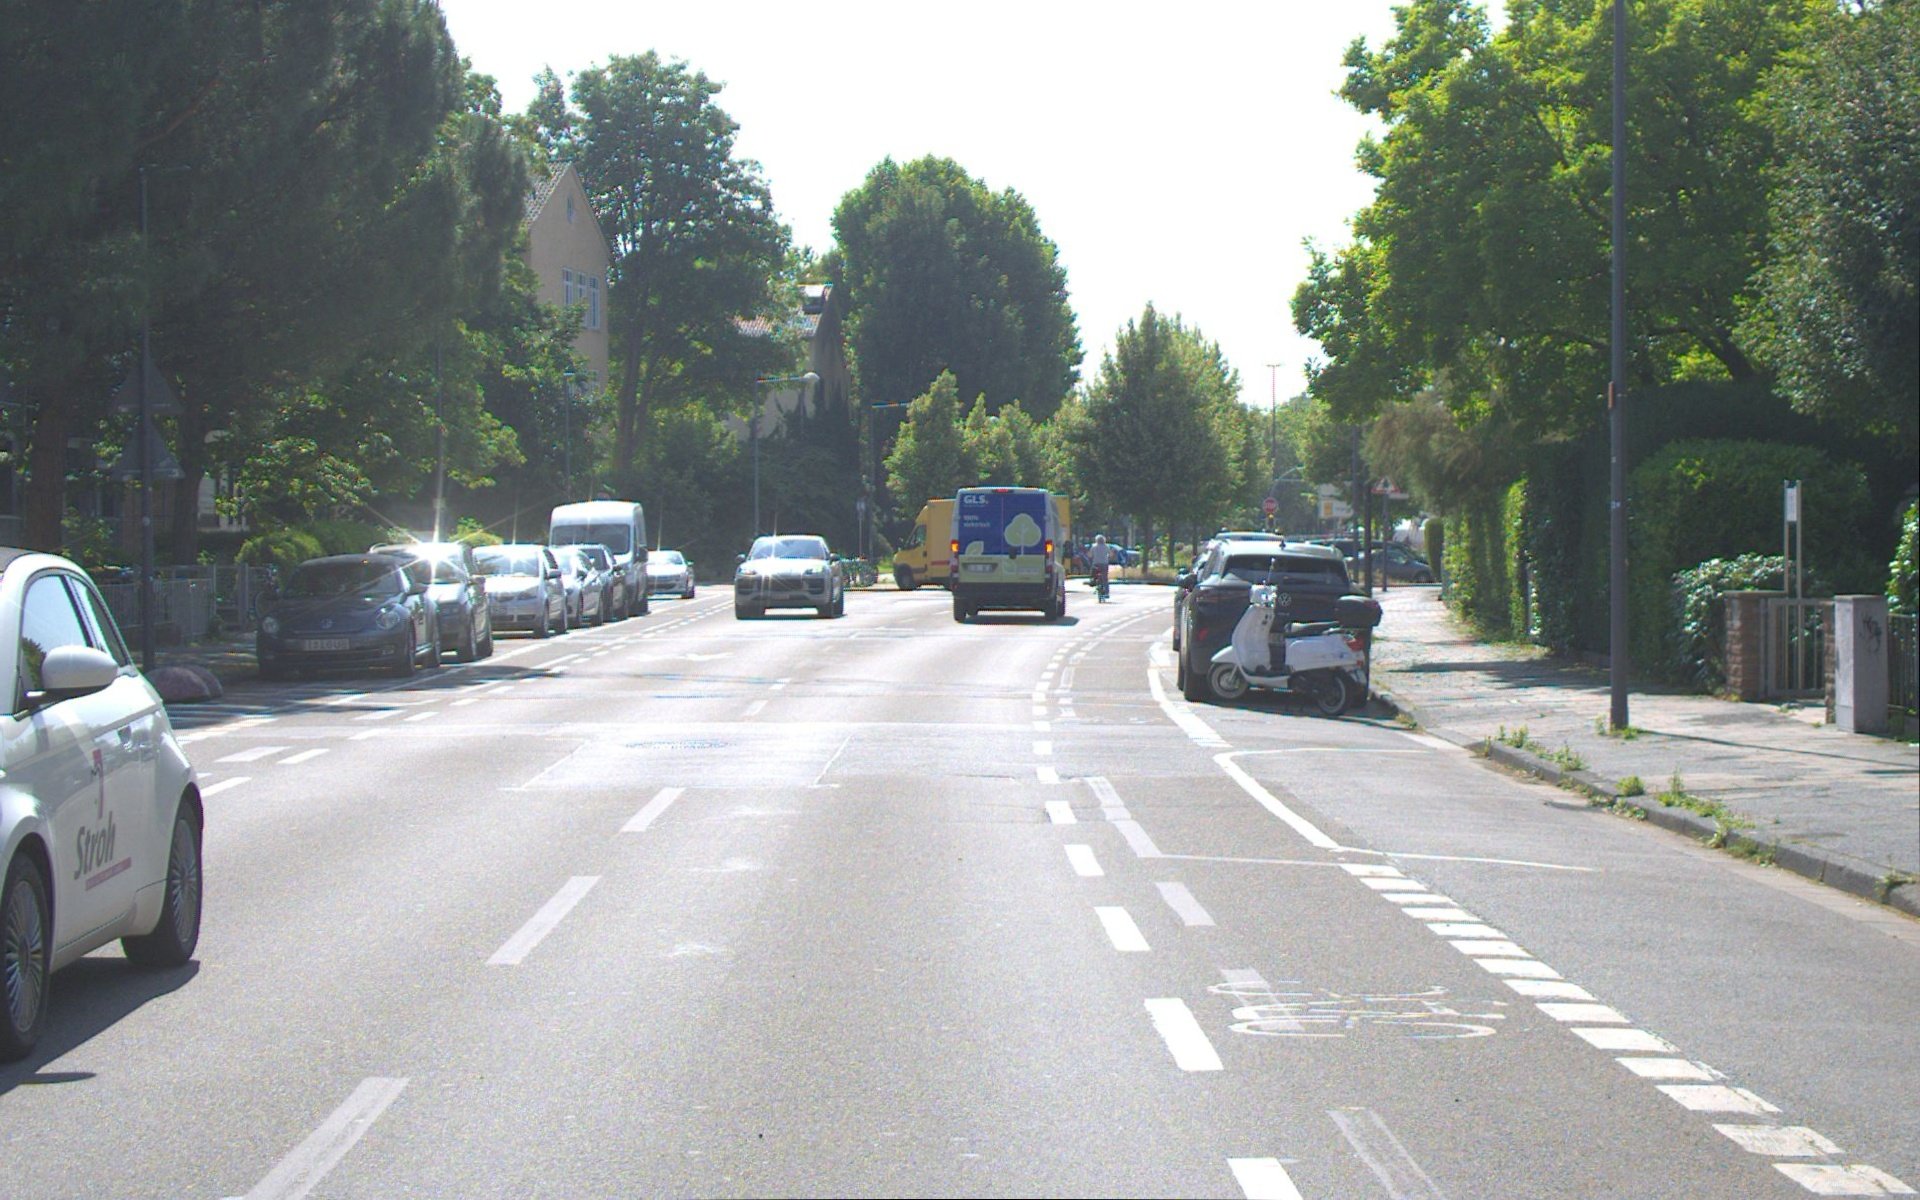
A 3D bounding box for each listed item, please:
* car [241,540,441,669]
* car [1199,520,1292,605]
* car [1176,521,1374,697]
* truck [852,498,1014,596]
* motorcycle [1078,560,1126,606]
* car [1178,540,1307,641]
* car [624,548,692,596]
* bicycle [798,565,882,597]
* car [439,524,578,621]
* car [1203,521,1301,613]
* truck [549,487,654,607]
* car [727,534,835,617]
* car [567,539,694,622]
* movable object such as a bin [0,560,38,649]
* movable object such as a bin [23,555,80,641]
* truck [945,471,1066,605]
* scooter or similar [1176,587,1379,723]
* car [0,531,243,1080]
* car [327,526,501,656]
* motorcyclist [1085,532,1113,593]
[{"bbox_3d":[-7.498,0.018,41.954,1.780,1.455,4.086,-1,1,-2],"label":"car"},{"bbox_3d":[5.793,-0.758,70.039,1.700,1.671,3.775,0,1,2],"label":"car"},{"bbox_3d":[3.320,0.065,35.594,1.785,1.632,4.469,2,1,8],"label":"car"},{"bbox_3d":[-0.865,-1.633,106.293,2.214,2.936,5.685,0,0,-34],"label":"truck"},{"bbox_3d":[3.537,-0.425,85.873,1.056,1.119,2.992,0,0,-1],"label":"motorcycle"},{"bbox_3d":[4.116,-0.173,50.371,1.785,1.394,4.323,1,1,4],"label":"car"},{"bbox_3d":[-8.559,-0.811,97.637,1.754,1.339,3.654,0,1,-2],"label":"car"},{"bbox_3d":[-4.007,-0.643,114.975,2.687,1.044,1.026,0,0,-9],"label":"bicycle"},{"bbox_3d":[-7.659,-0.458,58.625,1.835,1.590,3.775,0,0,1],"label":"car"},{"bbox_3d":[5.540,-0.636,64.906,1.701,1.671,3.774,1,1,7],"label":"car"},{"bbox_3d":[-7.883,-1.170,76.013,2.080,2.528,5.468,0,1,-4],"label":"truck"},{"bbox_3d":[-3.677,-0.523,71.393,1.993,1.652,4.605,0,1,0],"label":"car"},{"bbox_3d":[-6.162,-0.381,64.604,1.835,1.491,3.653,0,1,3],"label":"car"},{"bbox_3d":[-11.993,0.047,43.181,0.605,1.107,0.663,0,0,5],"label":"movable object such as a bin"},{"bbox_3d":[-11.773,-0.023,44.571,0.544,1.107,0.585,0,0,5],"label":"movable object such as a bin"},{"bbox_3d":[0.942,-1.214,68.297,2.272,2.562,4.392,0,0,2],"label":"truck"},{"bbox_3d":[3.018,0.513,32.777,1.796,1.150,0.718,5,1,44],"label":"scooter or similar"},{"bbox_3d":[-3.601,0.575,11.263,1.732,1.536,4.000,-1,0,-1],"label":"car"},{"bbox_3d":[-7.525,-0.164,47.741,1.908,1.671,4.259,-1,1,-3],"label":"car"},{"bbox_3d":[3.465,-0.936,85.800,0.672,1.513,0.652,0,0,1],"label":"motorcyclist"}]
